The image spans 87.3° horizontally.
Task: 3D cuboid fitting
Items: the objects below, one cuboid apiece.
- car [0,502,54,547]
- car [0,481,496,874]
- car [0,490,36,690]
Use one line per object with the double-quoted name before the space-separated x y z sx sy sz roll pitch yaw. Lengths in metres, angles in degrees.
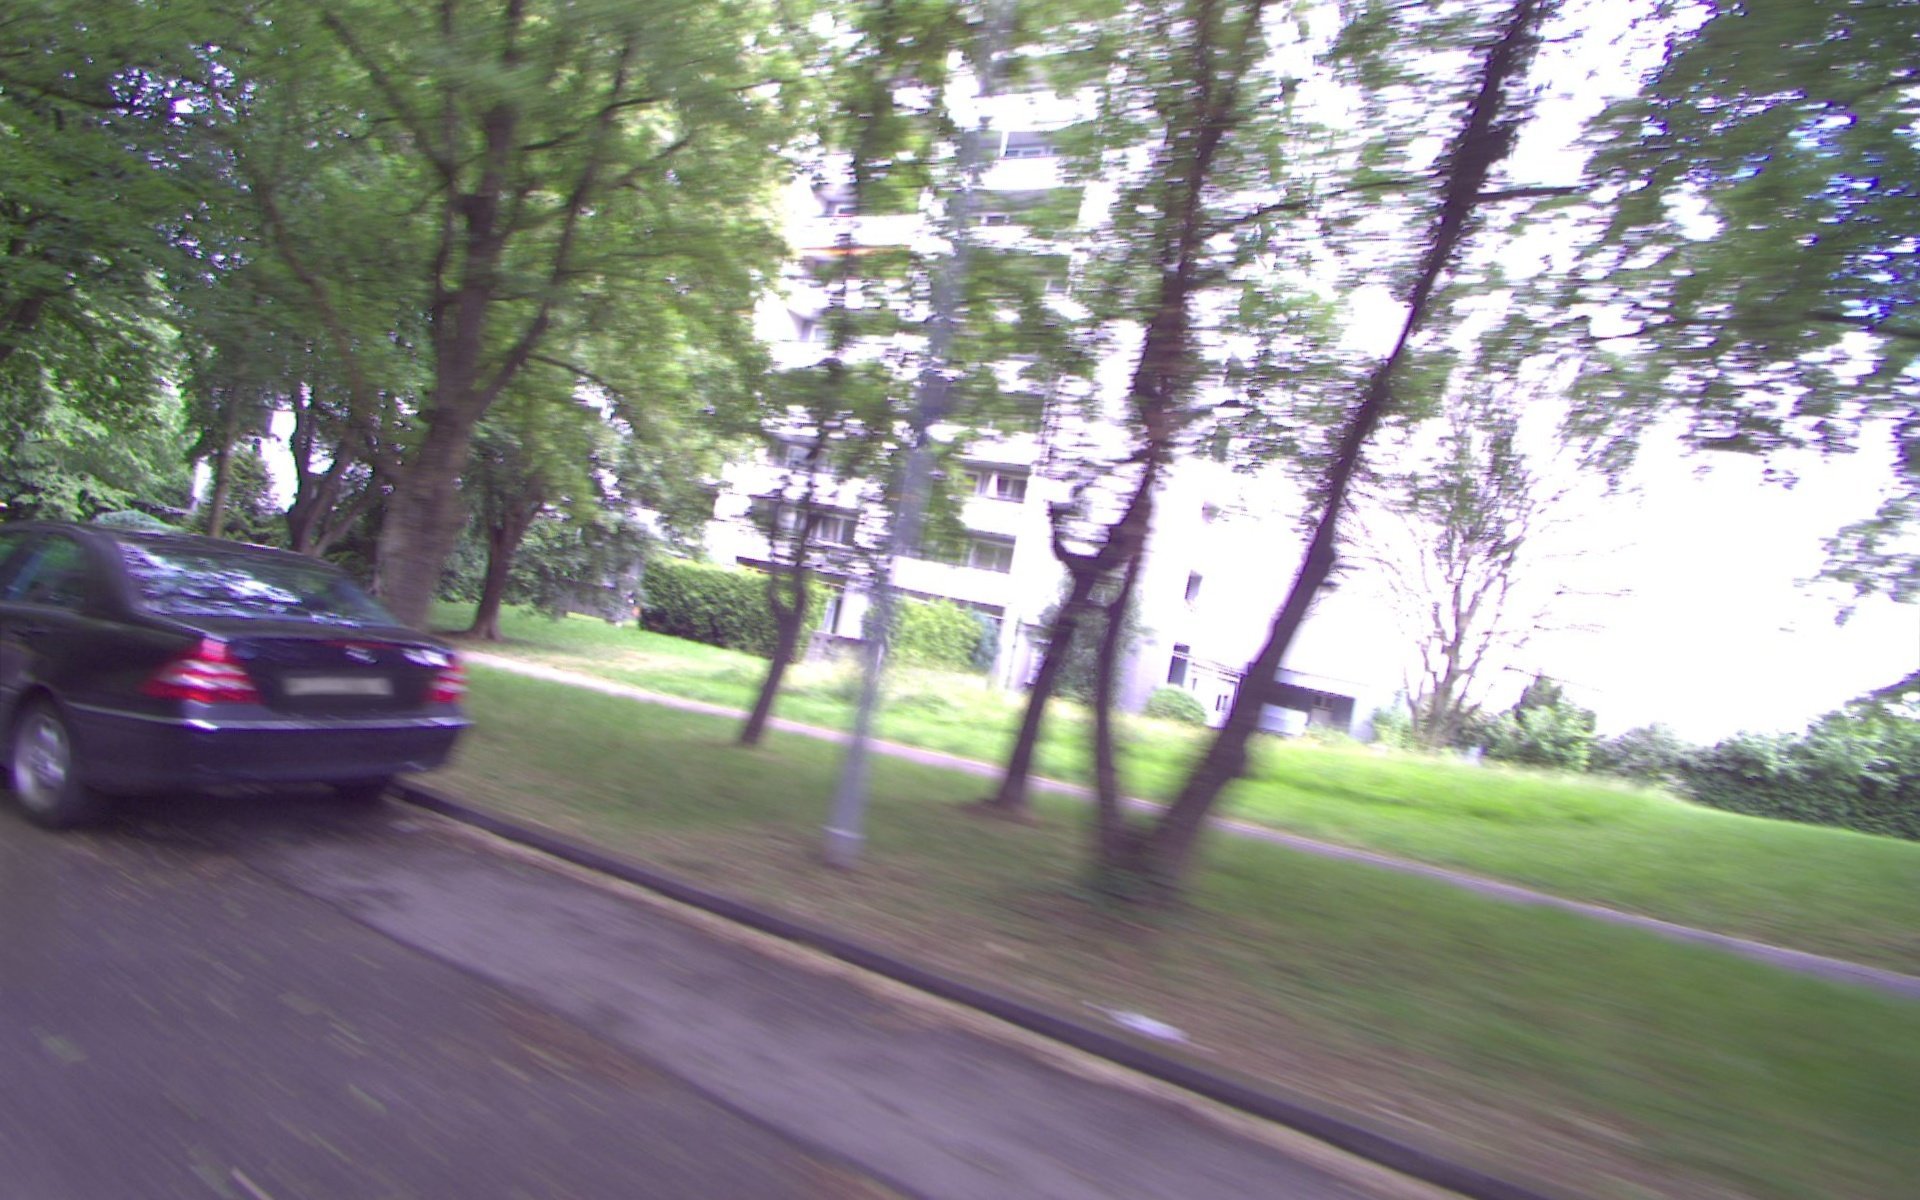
"car" -48.447 -4.023 50.079 1.800 1.868 4.413 8 -3 28
"car" -4.877 0.176 5.762 4.240 1.483 1.593 8 0 26
"car" -10.244 -0.446 8.705 4.654 1.629 1.919 8 -2 31
